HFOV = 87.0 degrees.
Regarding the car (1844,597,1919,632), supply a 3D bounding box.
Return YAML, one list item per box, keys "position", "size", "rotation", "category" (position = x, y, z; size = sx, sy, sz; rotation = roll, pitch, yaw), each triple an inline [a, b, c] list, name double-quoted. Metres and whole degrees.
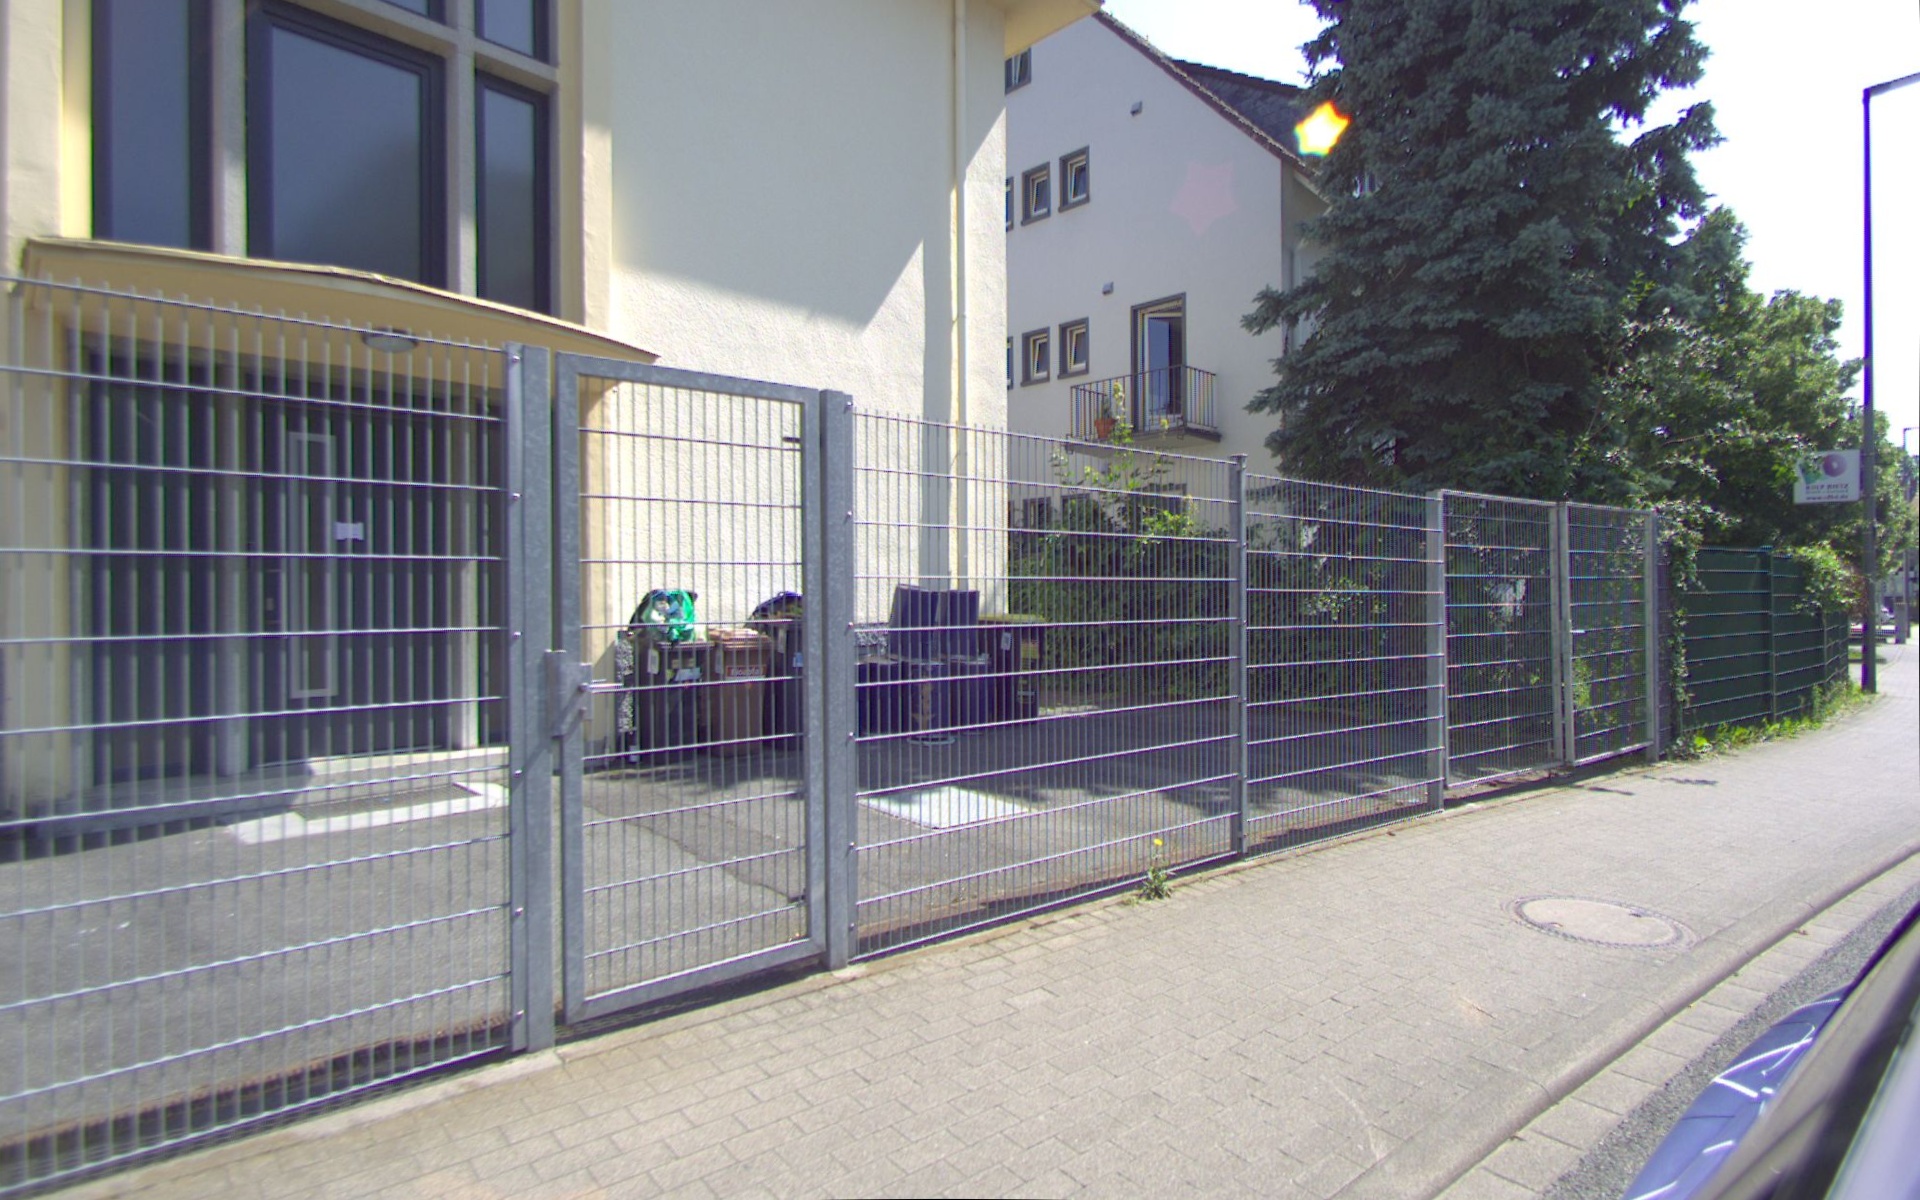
- position: [60.908, 0.955, 66.696]
  size: [3.985, 2.128, 1.970]
  rotation: [2, 1, 42]
  category: "car"
